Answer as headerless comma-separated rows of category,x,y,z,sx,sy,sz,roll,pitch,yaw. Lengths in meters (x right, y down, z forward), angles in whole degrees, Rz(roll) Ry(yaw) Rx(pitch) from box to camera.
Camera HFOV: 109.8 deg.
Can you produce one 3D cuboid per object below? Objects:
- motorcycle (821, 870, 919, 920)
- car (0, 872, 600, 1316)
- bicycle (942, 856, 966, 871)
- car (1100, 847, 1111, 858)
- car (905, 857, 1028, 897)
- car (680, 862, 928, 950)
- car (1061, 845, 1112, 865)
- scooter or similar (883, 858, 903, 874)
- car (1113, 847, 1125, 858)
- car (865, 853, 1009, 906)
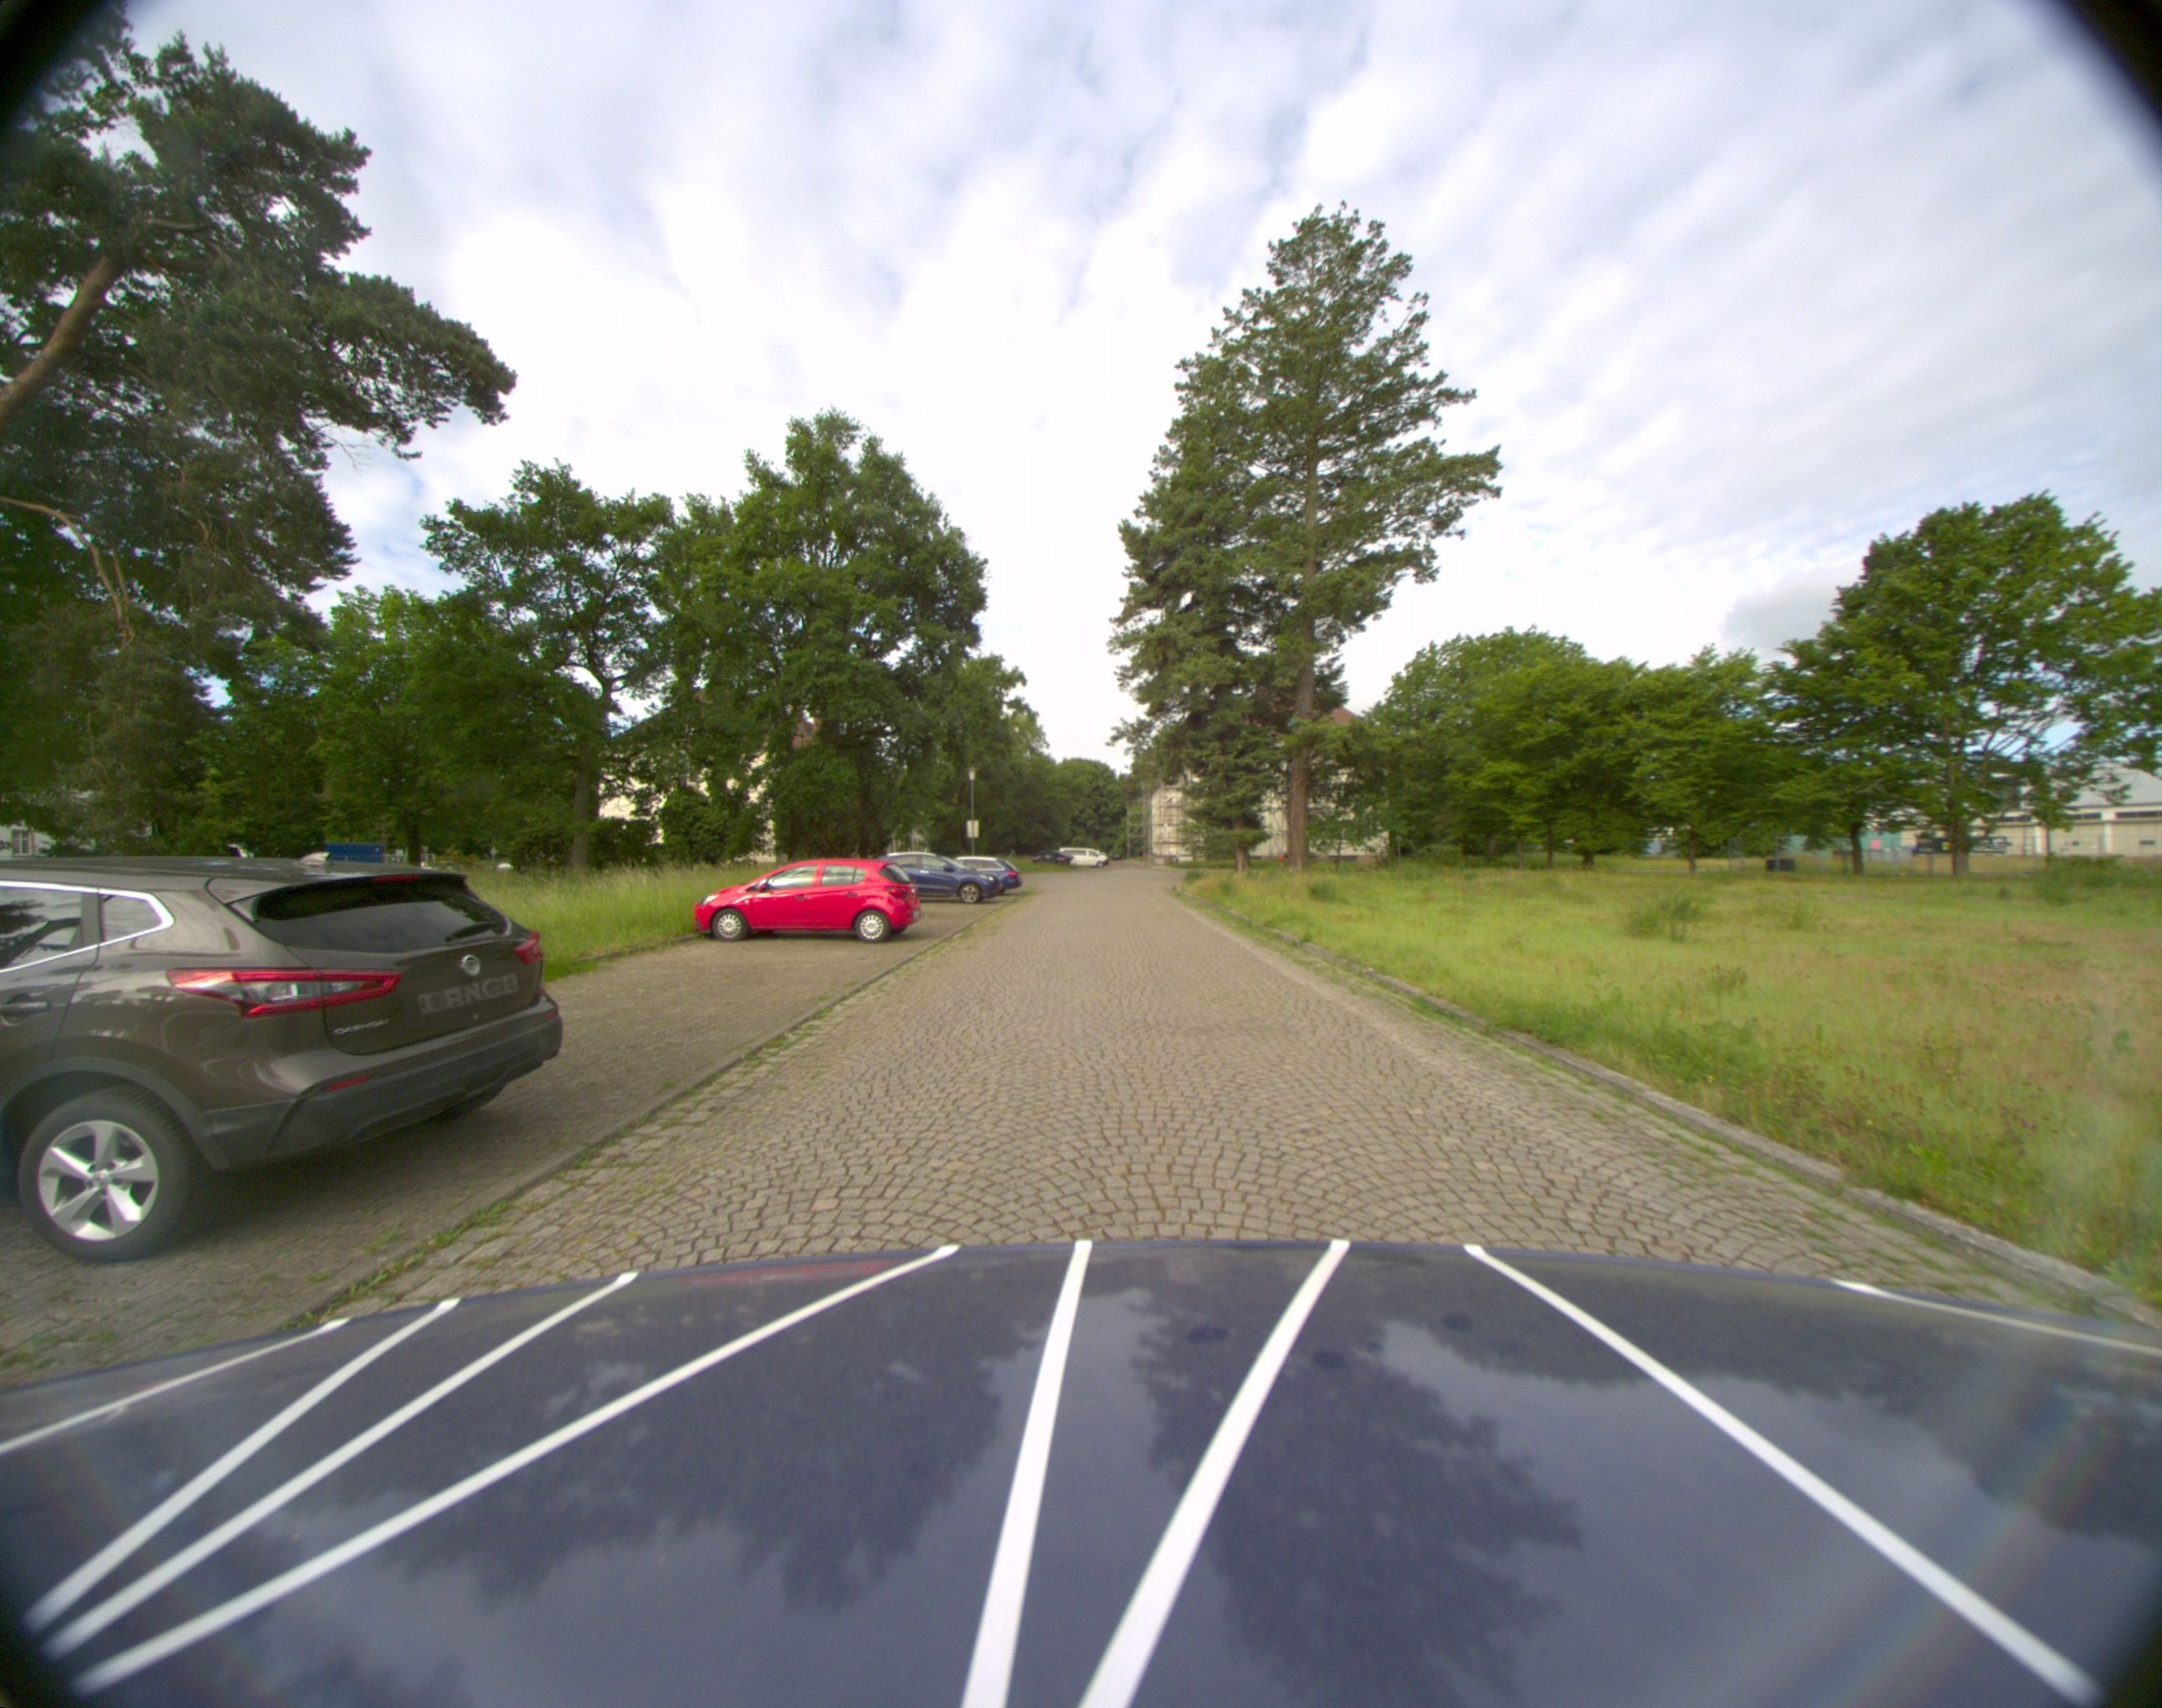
motorcycle,-5.130,0.995,18.567,2.236,1.195,0.568,0,1,-1
car,-5.122,0.913,3.762,4.214,1.585,1.953,0,1,-1
bicycle,-10.570,0.821,63.296,1.940,1.163,0.537,-3,1,-15
car,4.693,-0.304,143.931,1.962,2.002,4.260,0,1,0
car,-4.312,0.844,29.103,4.367,1.431,1.927,0,0,3
car,-4.977,0.908,14.068,3.933,1.488,1.784,0,1,0
car,0.549,0.084,77.819,5.149,2.002,2.000,0,1,1
scooter or similar,-14.150,0.918,57.238,1.308,1.163,0.413,-2,1,0
car,7.233,-0.335,144.127,1.962,2.002,4.260,0,1,0
car,-4.519,0.774,24.364,4.256,1.613,1.886,0,1,0
